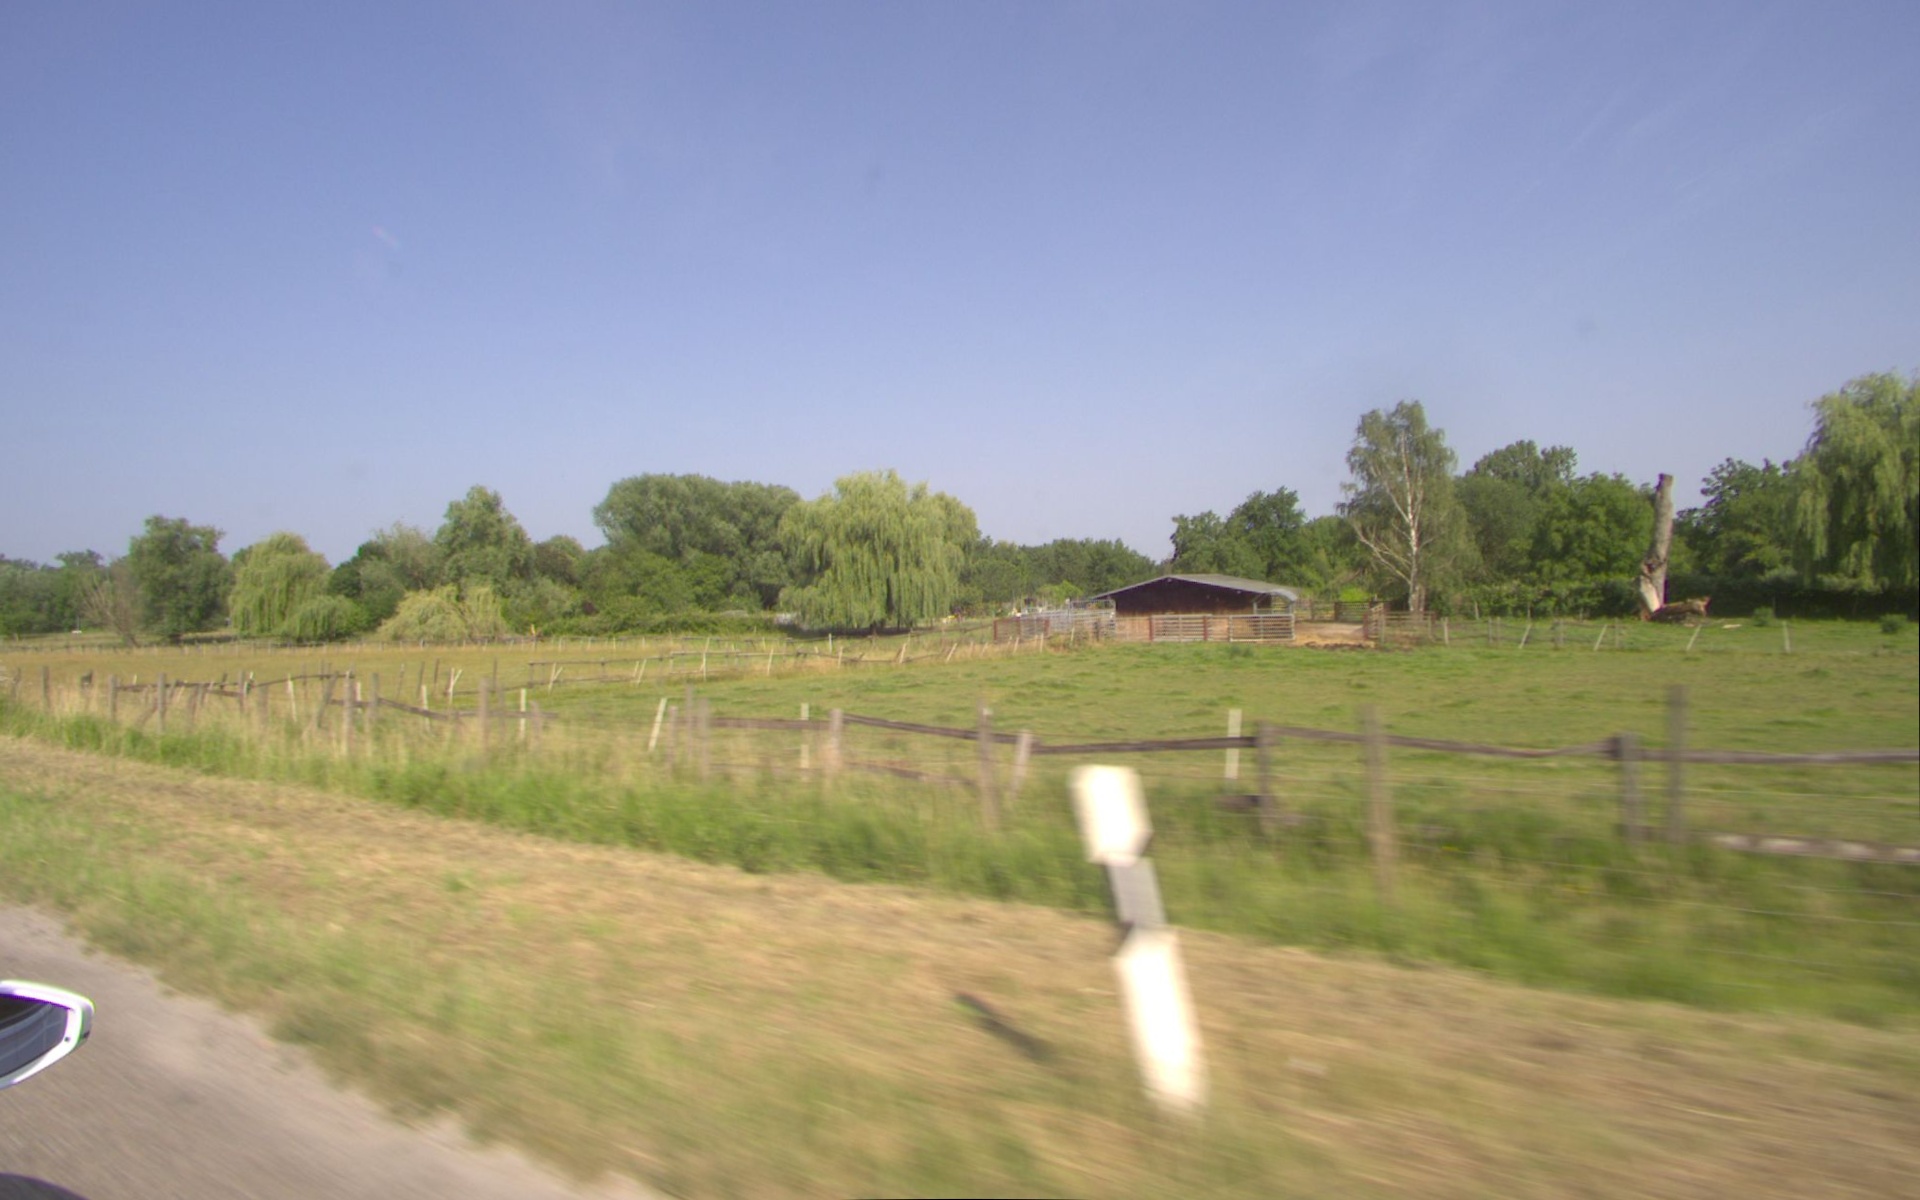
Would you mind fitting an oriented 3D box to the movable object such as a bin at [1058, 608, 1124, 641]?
[{"bbox_3d":[9.123,1.685,69.691,4.108,2.222,1.988,-2,-1,34],"label":"movable object such as a bin"}]
